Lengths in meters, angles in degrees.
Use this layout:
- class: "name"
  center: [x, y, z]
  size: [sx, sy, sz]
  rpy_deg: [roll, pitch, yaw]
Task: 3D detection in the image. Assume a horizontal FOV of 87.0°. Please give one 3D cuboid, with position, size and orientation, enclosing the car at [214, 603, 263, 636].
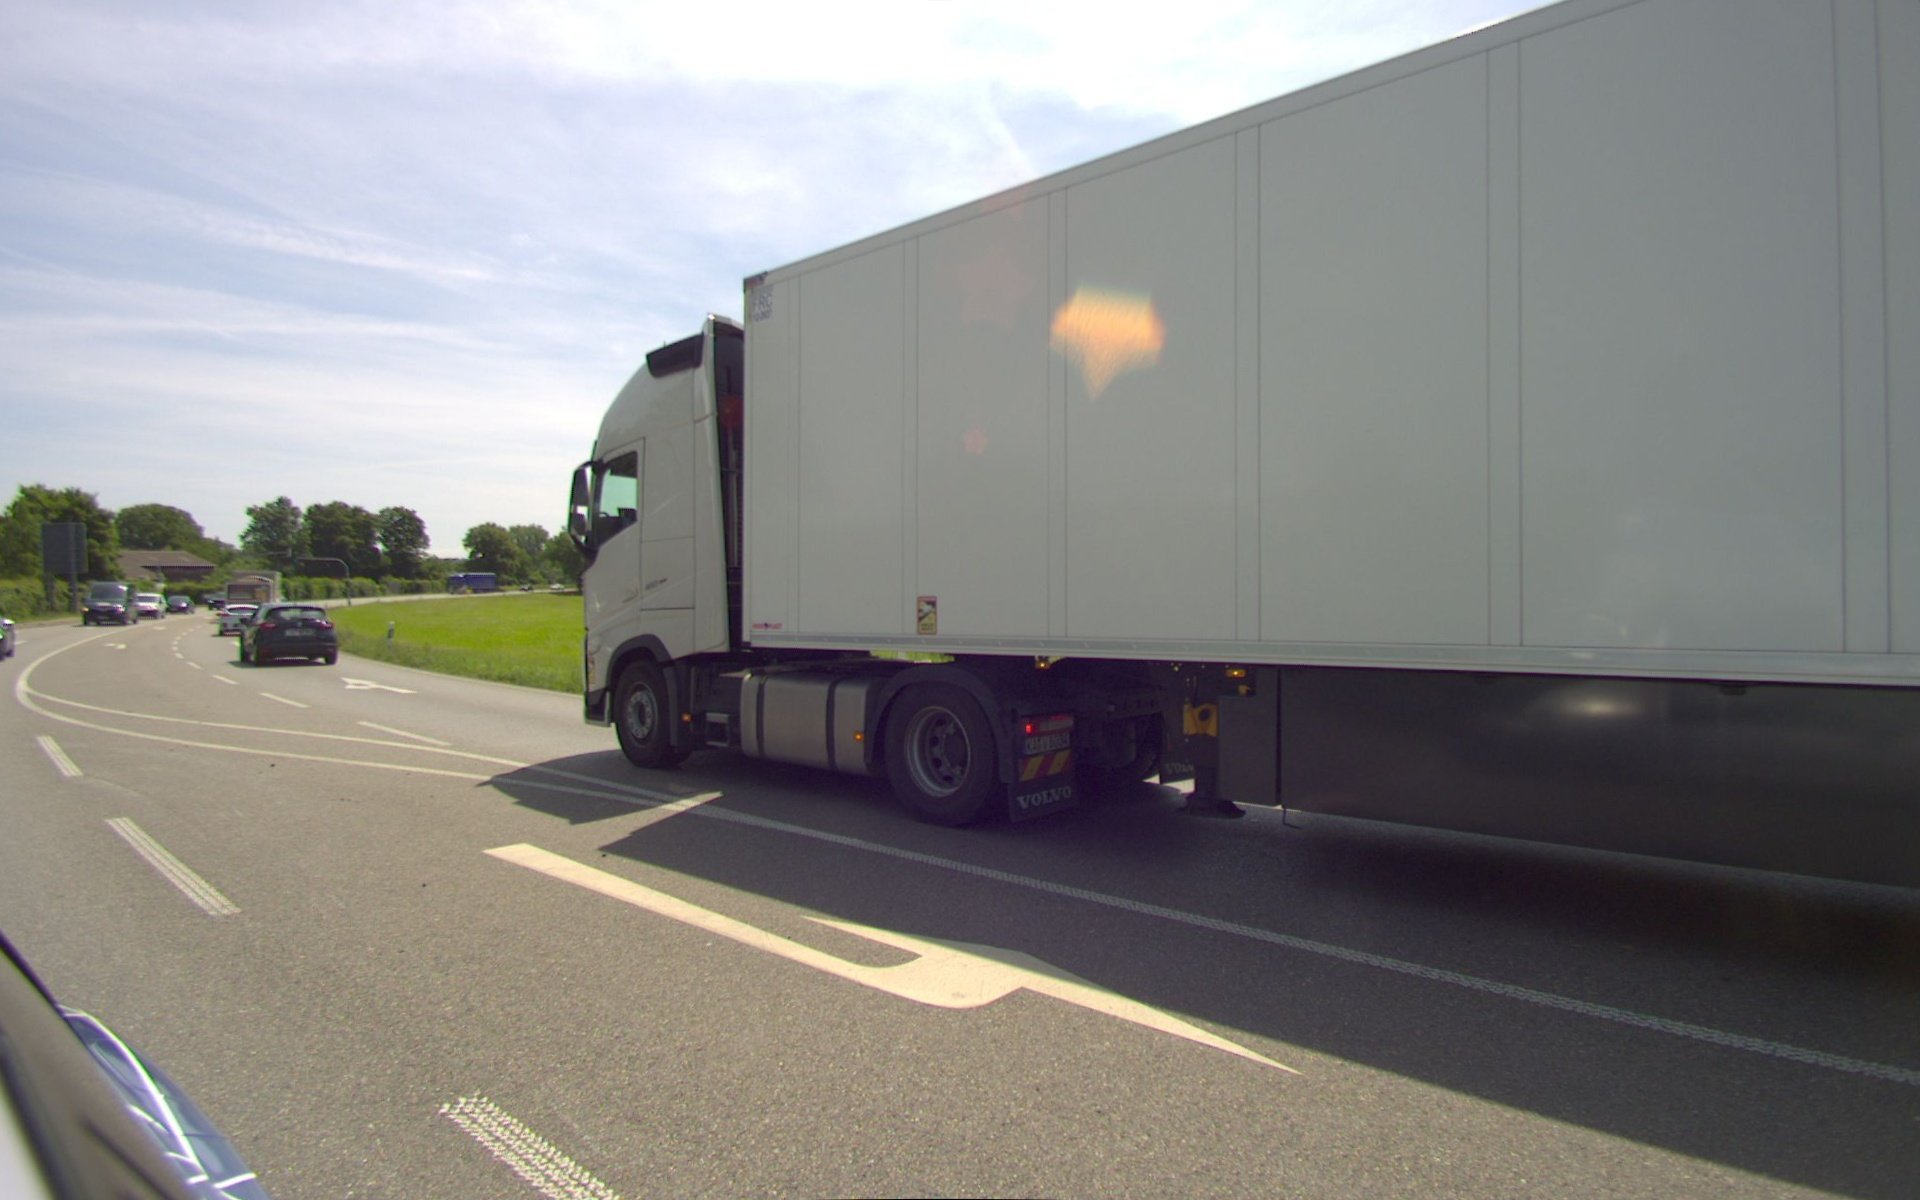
- class: "car"
  center: [-33.814, 0.871, 47.507]
  size: [1.594, 1.473, 4.012]
  rpy_deg: [0, 0, -32]

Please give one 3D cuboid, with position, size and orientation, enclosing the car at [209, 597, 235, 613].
- class: "car"
  center: [-73.061, 0.503, 100.238]
  size: [1.754, 1.504, 4.170]
  rpy_deg: [0, 0, -31]

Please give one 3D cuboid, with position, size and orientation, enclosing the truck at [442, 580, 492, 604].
- class: "truck"
  center: [-98.497, -1.562, 202.644]
  size: [2.706, 4.643, 16.169]
  rpy_deg: [0, 0, -3]

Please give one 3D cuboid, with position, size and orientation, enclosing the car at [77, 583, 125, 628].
- class: "car"
  center: [-50.498, 0.308, 59.460]
  size: [1.952, 2.538, 4.161]
  rpy_deg: [0, 0, -43]

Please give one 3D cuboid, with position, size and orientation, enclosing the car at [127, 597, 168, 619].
- class: "car"
  center: [-58.203, 0.579, 72.544]
  size: [1.754, 1.504, 4.170]
  rpy_deg: [0, 0, -31]

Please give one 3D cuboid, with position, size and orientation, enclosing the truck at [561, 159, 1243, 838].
- class: "truck"
  center: [-0.793, -0.541, 8.859]
  size: [5.705, 3.973, 2.748]
  rpy_deg: [-1, -2, 43]

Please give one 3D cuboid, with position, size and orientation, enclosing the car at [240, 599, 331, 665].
- class: "car"
  center: [-17.446, 0.783, 26.113]
  size: [1.595, 1.570, 4.007]
  rpy_deg: [1, -1, -39]

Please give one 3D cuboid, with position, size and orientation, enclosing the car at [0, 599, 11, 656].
- class: "car"
  center: [-26.608, 0.750, 26.881]
  size: [1.756, 1.504, 4.165]
  rpy_deg: [-1, 0, -39]

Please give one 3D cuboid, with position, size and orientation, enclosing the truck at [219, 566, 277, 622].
- class: "truck"
  center: [-48.647, -0.389, 69.278]
  size: [2.928, 3.597, 6.918]
  rpy_deg: [0, 0, -33]

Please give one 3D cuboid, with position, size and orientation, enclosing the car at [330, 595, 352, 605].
- class: "car"
  center: [-93.961, 0.036, 153.642]
  size: [1.754, 1.504, 4.169]
  rpy_deg: [0, 0, -15]

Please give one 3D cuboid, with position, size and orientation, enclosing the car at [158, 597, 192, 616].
- class: "car"
  center: [-66.429, 0.544, 85.644]
  size: [1.754, 1.504, 4.170]
  rpy_deg: [0, 0, -31]

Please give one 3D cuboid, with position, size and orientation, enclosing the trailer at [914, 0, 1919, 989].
- class: "trailer"
  center: [5.046, -0.702, 3.860]
  size: [11.651, 4.133, 2.750]
  rpy_deg: [-1, -2, 40]
